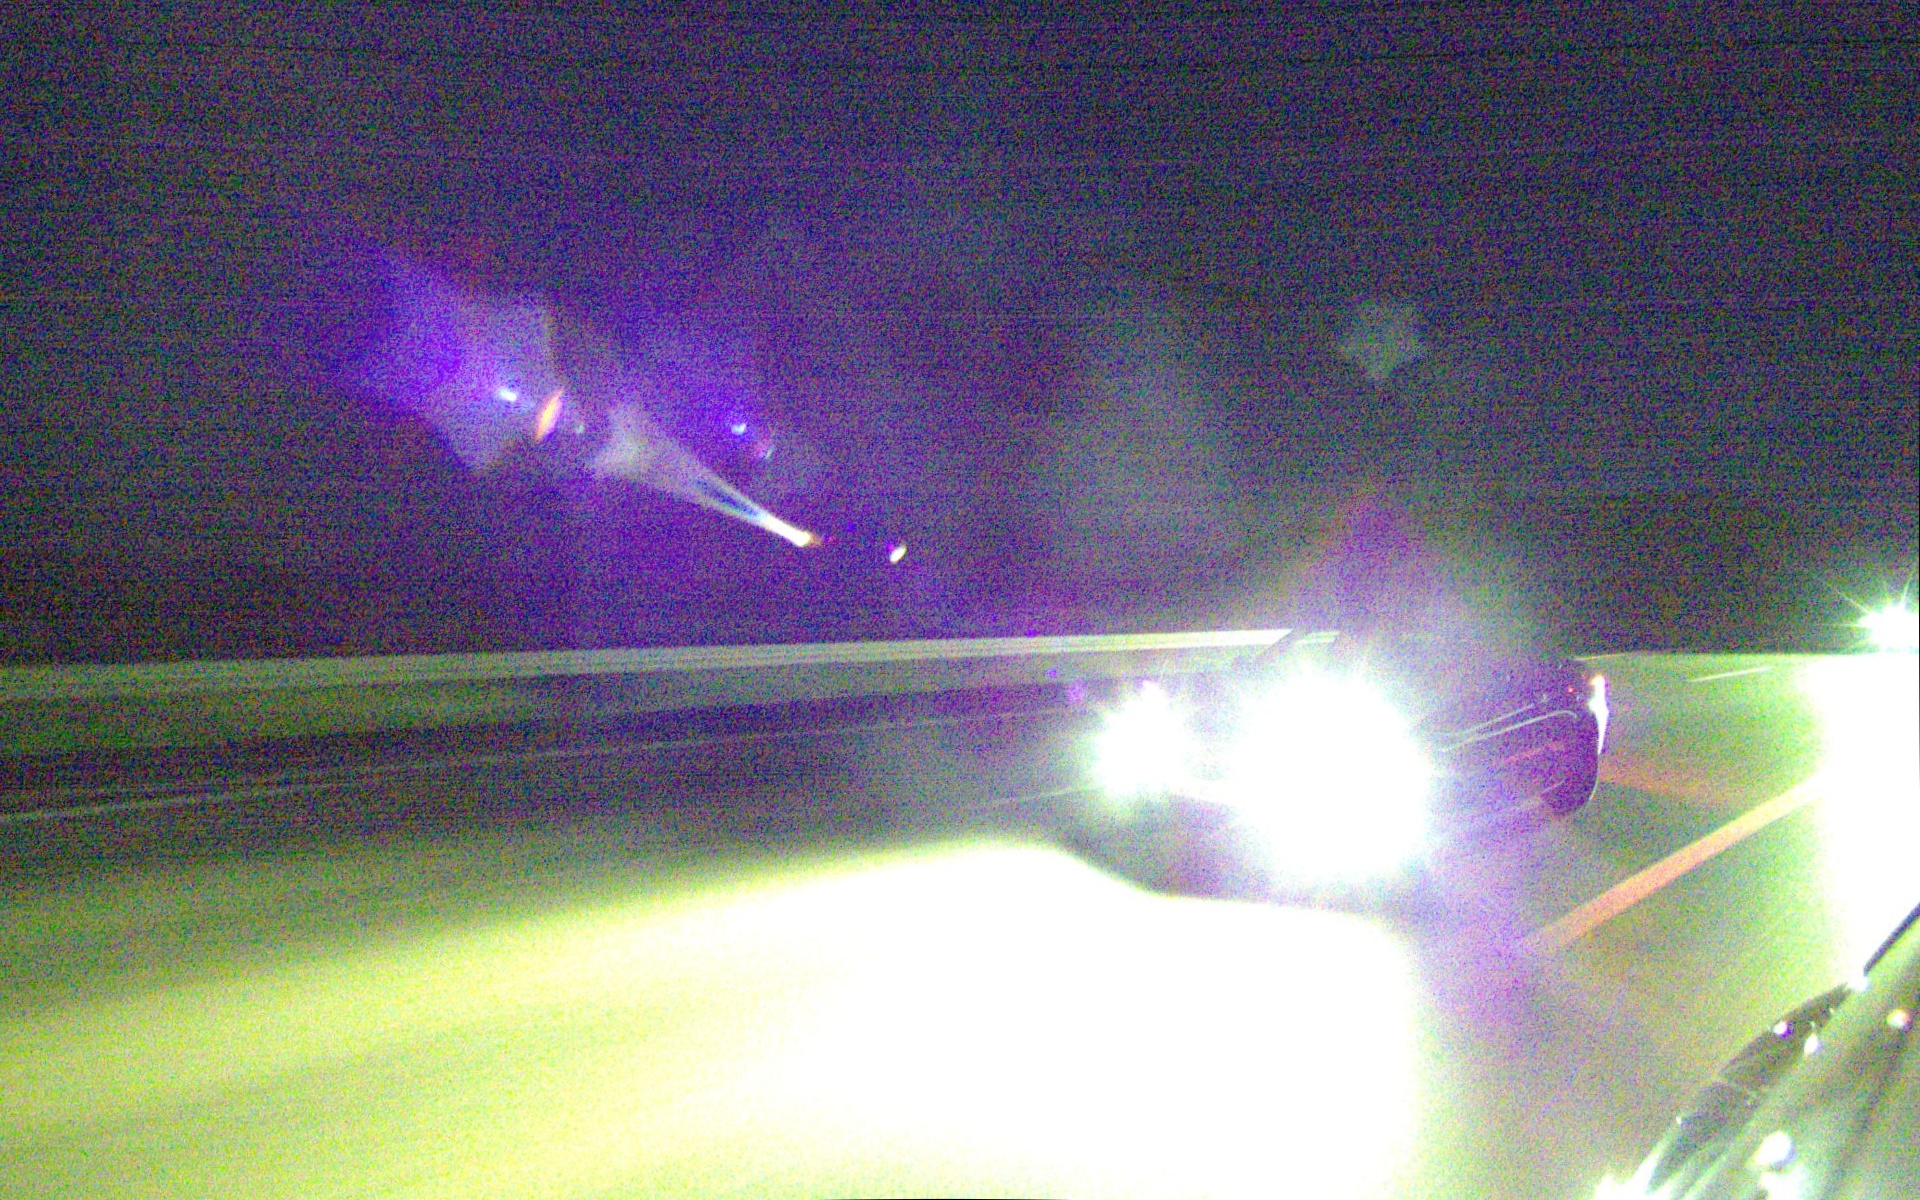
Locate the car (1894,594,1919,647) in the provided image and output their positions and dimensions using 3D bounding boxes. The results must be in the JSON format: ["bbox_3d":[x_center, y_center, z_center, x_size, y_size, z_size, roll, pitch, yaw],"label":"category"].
[{"bbox_3d":[30.135,0.608,30.951,4.150,1.560,1.794,0,0,-40],"label":"car"}]

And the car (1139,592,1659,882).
[{"bbox_3d":[3.268,0.689,7.126,4.150,1.431,1.690,0,1,-40],"label":"car"}]
